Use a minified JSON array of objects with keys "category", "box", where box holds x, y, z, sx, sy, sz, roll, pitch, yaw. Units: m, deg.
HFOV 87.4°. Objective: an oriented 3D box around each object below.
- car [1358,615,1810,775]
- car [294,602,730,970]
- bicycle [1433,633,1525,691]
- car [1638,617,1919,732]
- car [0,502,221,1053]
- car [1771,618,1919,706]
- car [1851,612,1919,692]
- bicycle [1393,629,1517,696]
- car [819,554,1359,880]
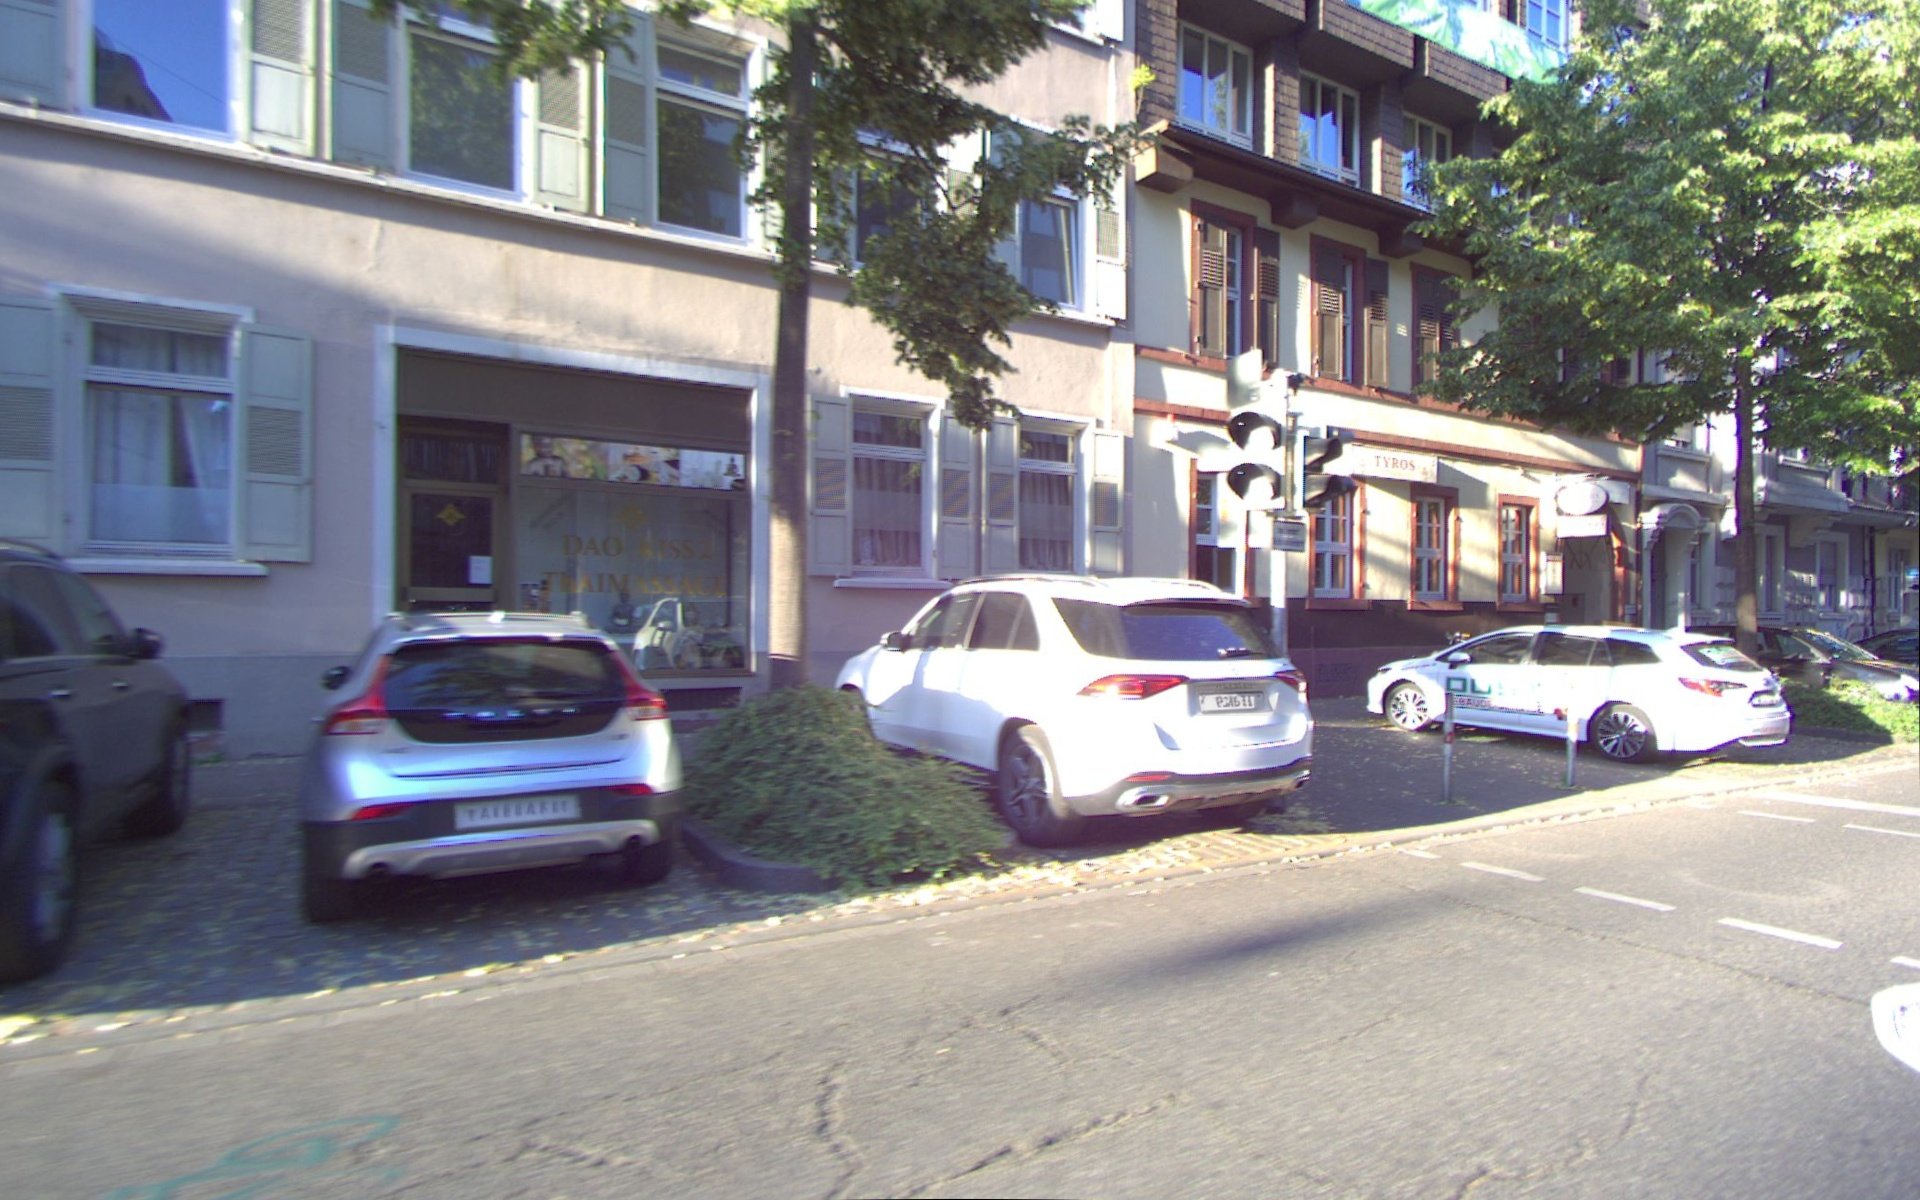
[{"category":"car","box":[7.306,0.980,12.282,1.801,1.442,4.361,1,1,-29]},{"category":"car","box":[-2.834,0.775,6.220,1.798,1.481,3.800,1,0,-29]},{"category":"bicycle","box":[9.748,1.146,18.854,1.710,1.002,0.618,1,1,-26]},{"category":"car","box":[13.367,1.079,16.082,1.766,1.468,3.770,1,1,-27]},{"category":"car","box":[-5.053,0.564,4.791,1.924,1.806,4.534,2,-1,-30]},{"category":"car","box":[17.696,1.165,18.544,1.678,1.468,3.893,1,1,-32]},{"category":"car","box":[21.797,1.154,21.135,1.873,1.673,4.205,1,1,-33]},{"category":"bicycle","box":[8.919,1.093,18.078,2.332,1.114,0.708,1,1,-26]},{"category":"car","box":[0.627,0.628,8.209,2.027,1.835,4.687,1,1,-28]}]
